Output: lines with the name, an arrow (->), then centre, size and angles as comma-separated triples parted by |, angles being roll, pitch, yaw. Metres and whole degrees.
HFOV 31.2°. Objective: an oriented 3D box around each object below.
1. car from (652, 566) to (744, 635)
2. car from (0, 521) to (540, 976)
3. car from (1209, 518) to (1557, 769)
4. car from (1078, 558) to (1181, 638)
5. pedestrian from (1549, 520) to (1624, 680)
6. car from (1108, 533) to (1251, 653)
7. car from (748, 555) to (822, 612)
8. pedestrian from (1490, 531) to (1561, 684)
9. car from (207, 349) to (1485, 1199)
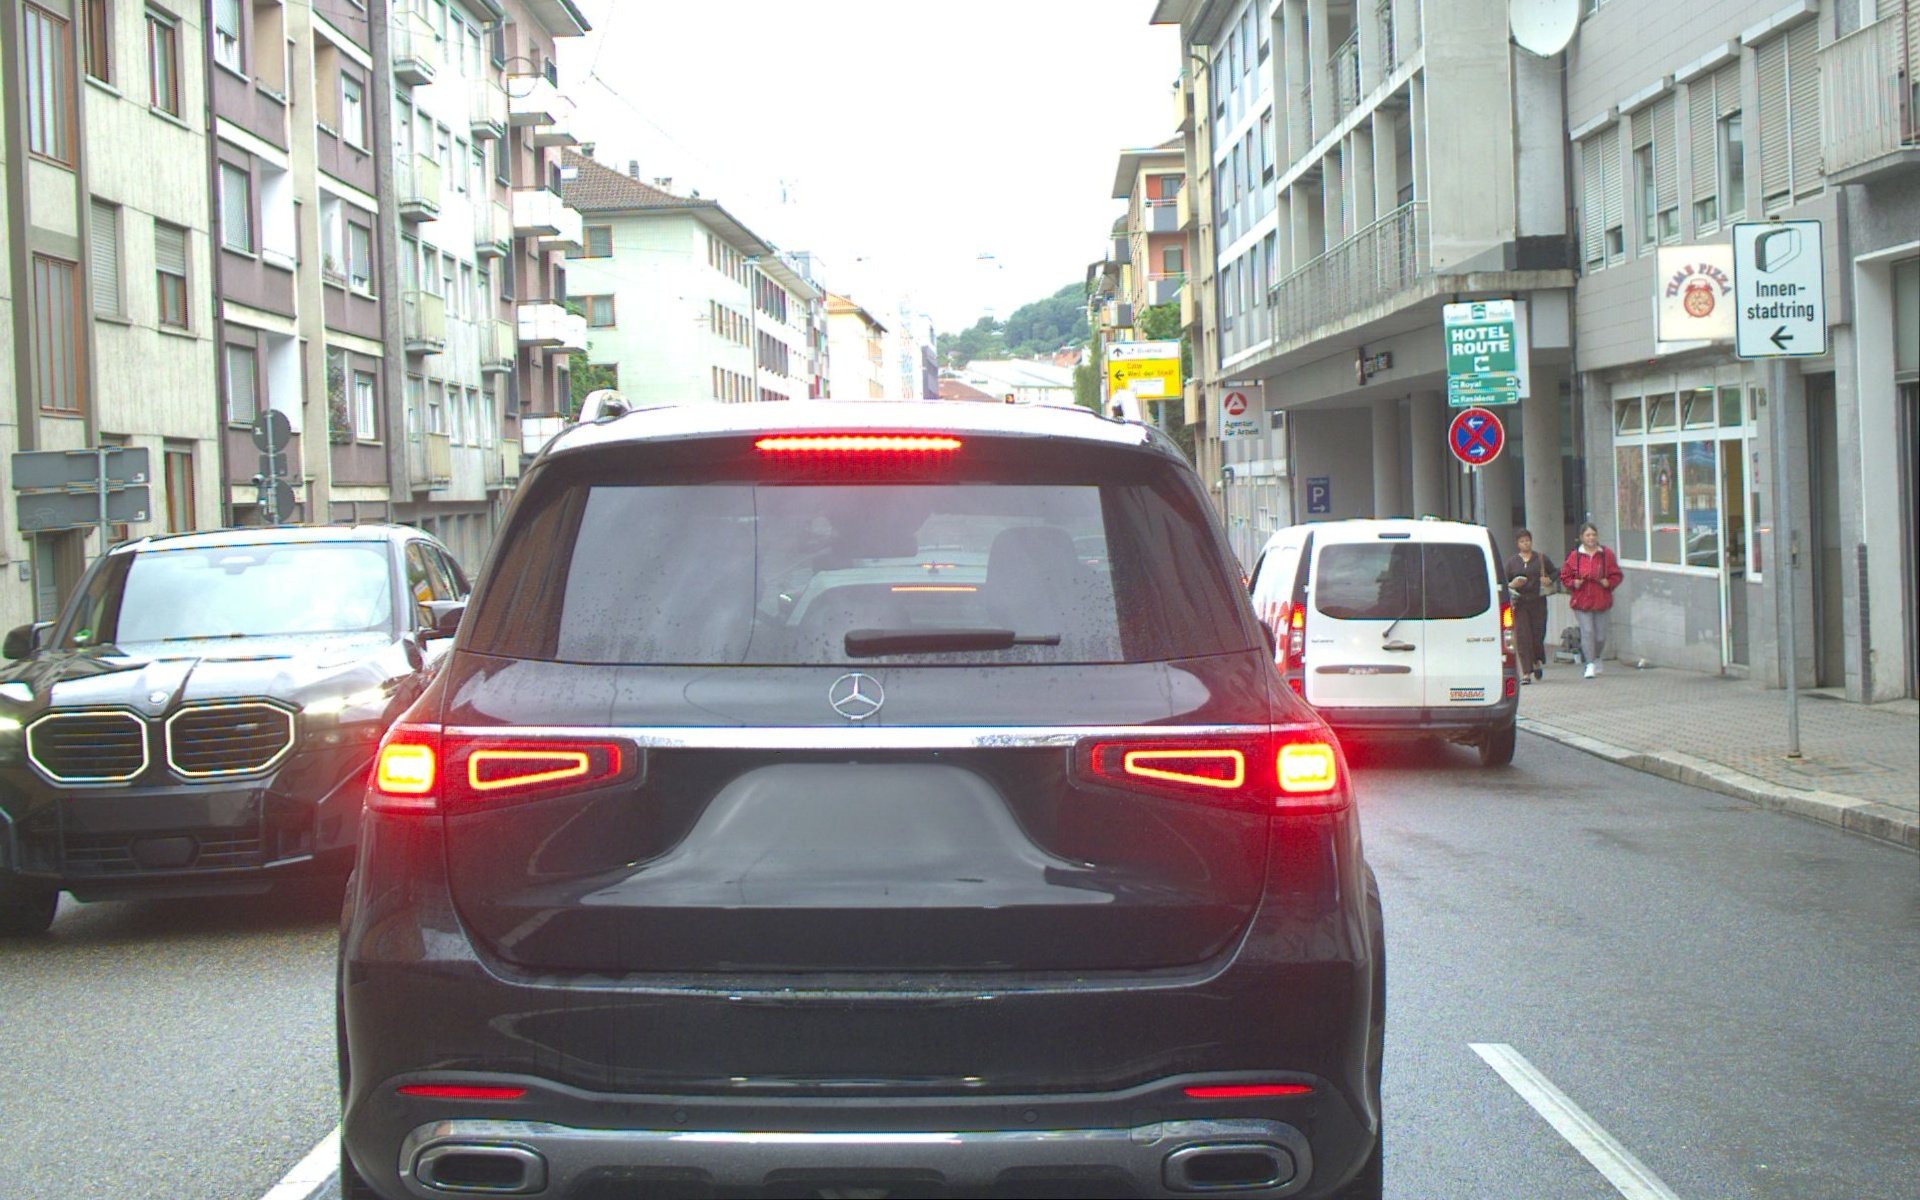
car -> -5.795, -0.011, 76.423 | 1.767, 1.341, 3.889 | -5, 1, -2
car -> -3.333, 0.567, 16.116 | 2.126, 1.715, 4.818 | -3, 1, -1
car -> 3.150, 0.268, 26.583 | 1.940, 1.769, 4.747 | 0, 1, -2
car -> 3.156, -0.063, 64.810 | 1.621, 1.425, 4.312 | 1, 1, -1
pedestrian -> 6.356, -0.003, 34.889 | 0.560, 1.573, 0.526 | -4, 1, 1
car -> 3.026, -0.133, 48.084 | 1.808, 1.600, 4.212 | 0, 1, 1
car -> -4.664, -0.456, 91.899 | 1.724, 1.385, 4.339 | -3, 1, -1
pedestrian -> 5.705, 0.071, 34.693 | 0.506, 1.495, 0.562 | -4, 1, -1
car -> -0.225, 0.481, 7.508 | 2.025, 1.799, 4.000 | 1, 1, -1
